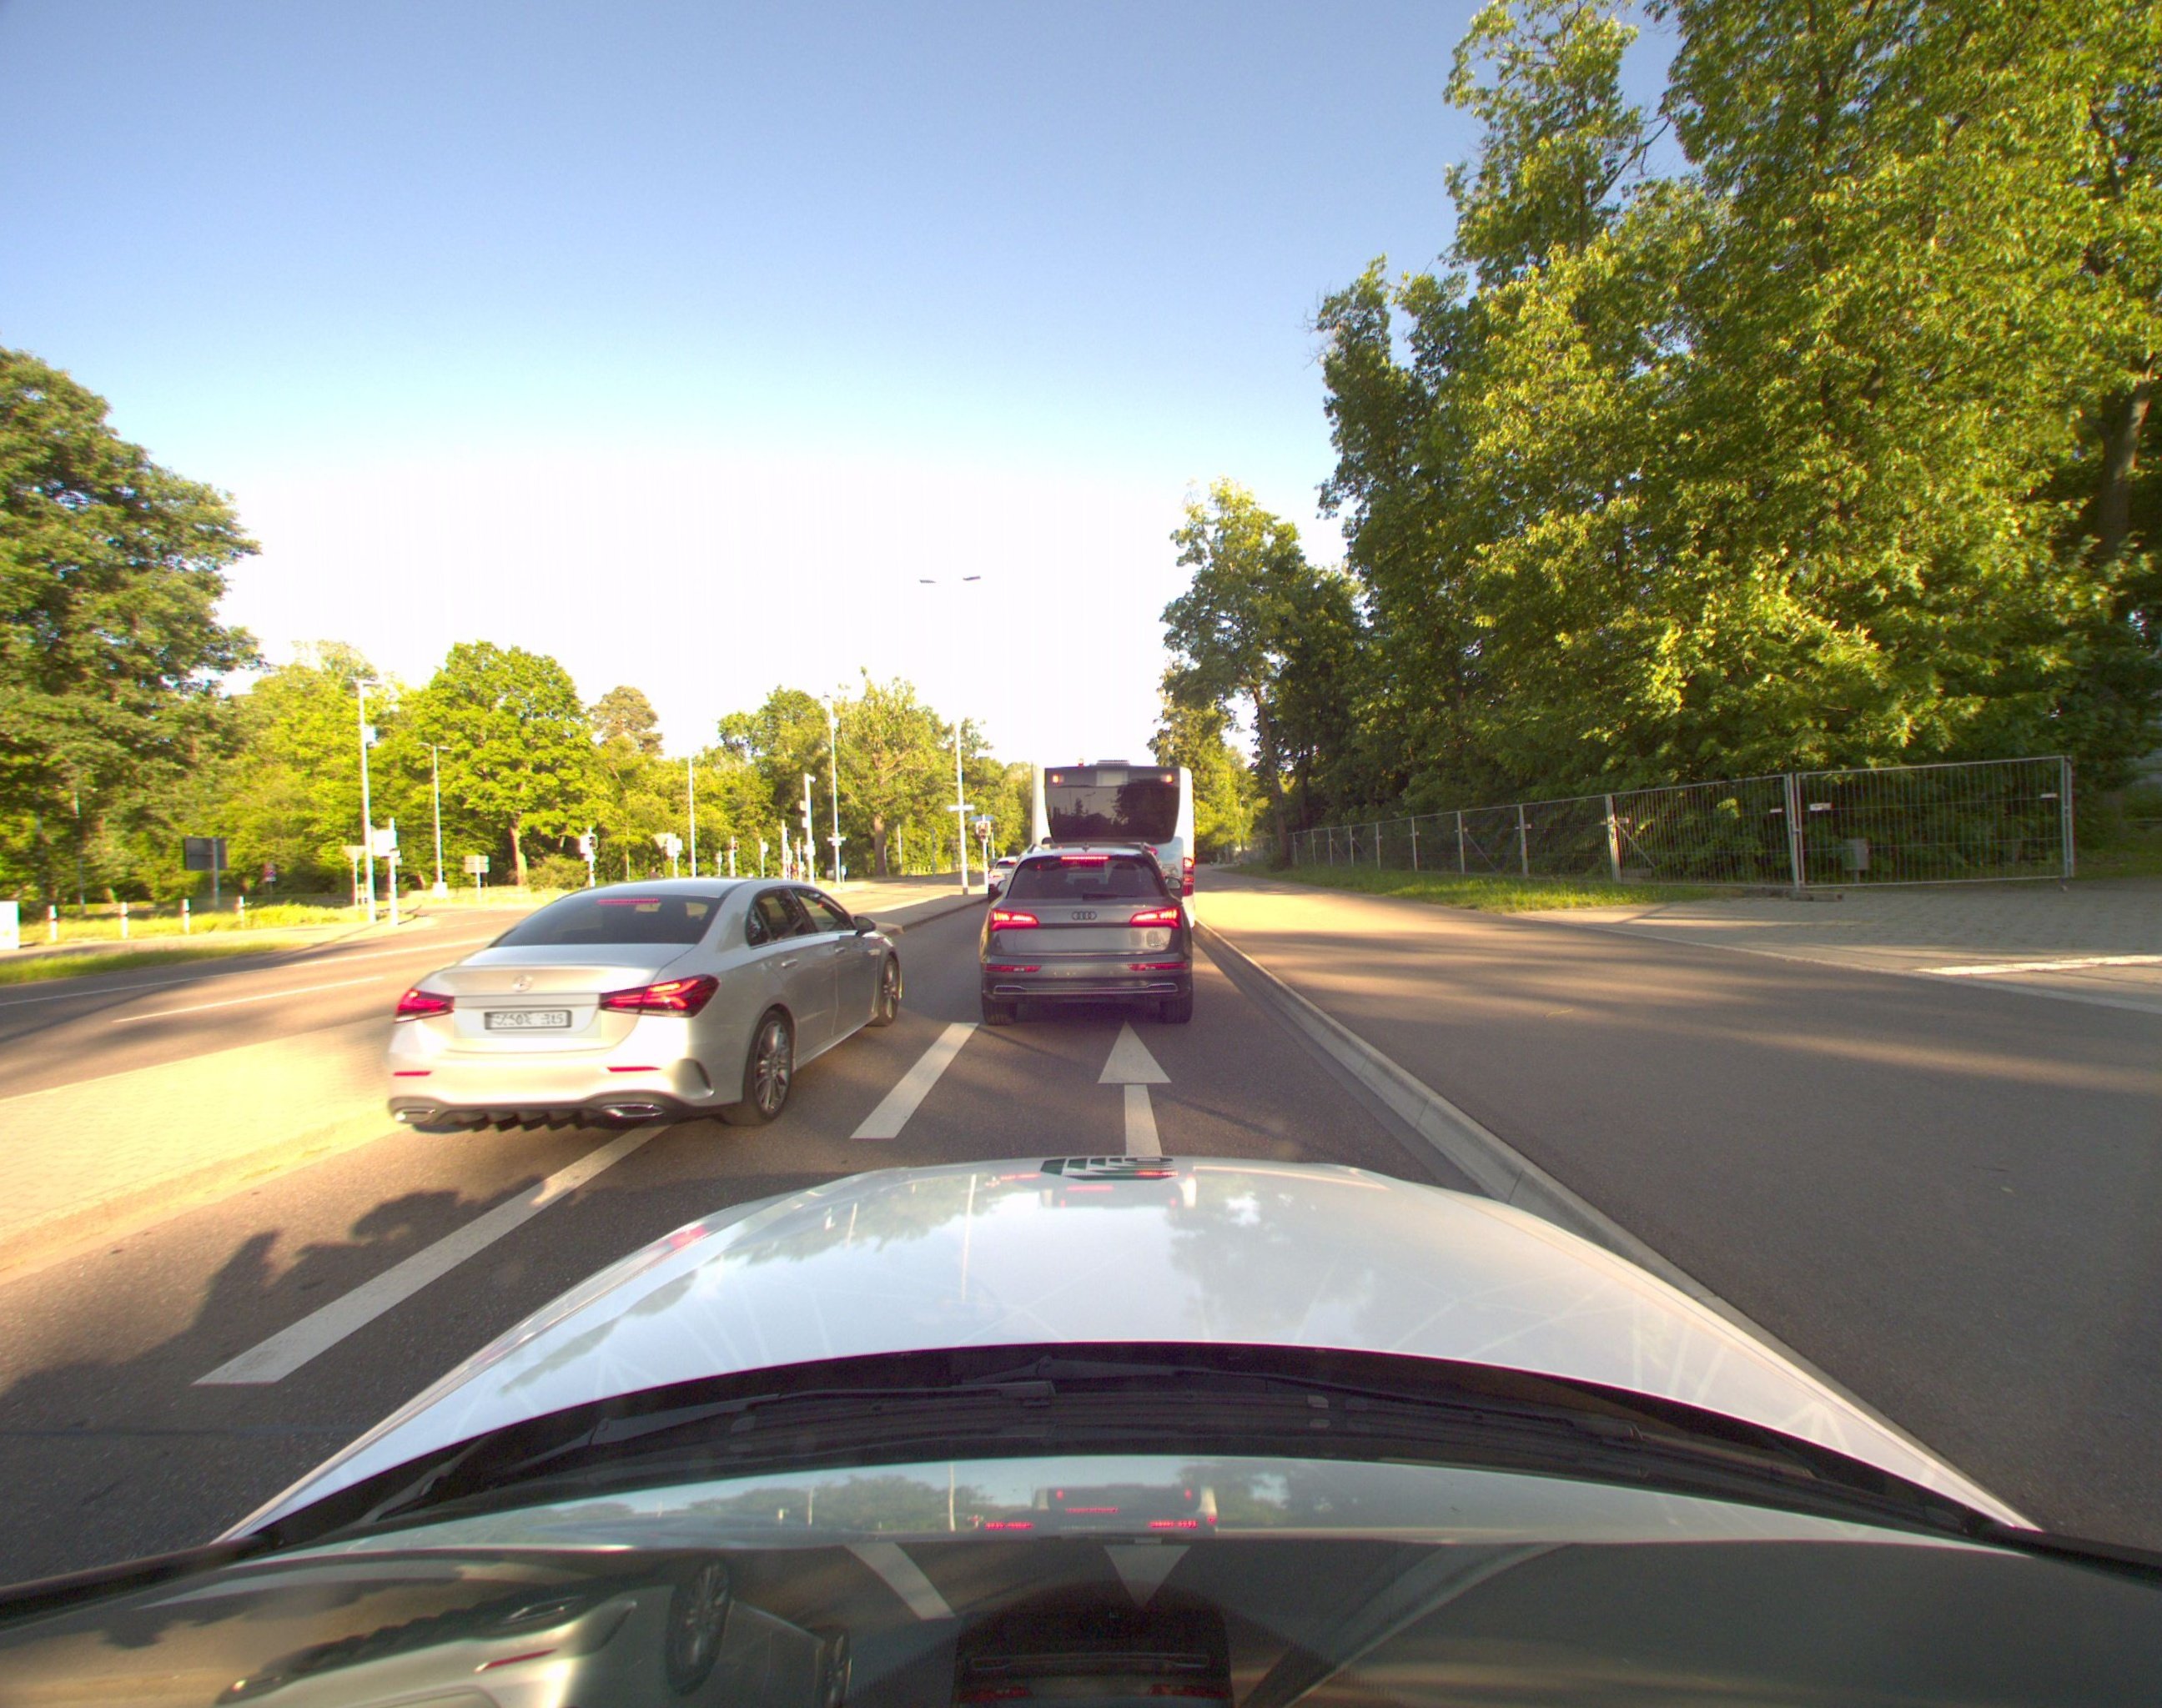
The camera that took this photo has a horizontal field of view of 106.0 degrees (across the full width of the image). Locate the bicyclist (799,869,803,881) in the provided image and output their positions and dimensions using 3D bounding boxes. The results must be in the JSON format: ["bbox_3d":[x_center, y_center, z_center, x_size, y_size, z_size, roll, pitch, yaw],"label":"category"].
[{"bbox_3d":[-22.296,1.664,64.827,0.272,0.963,0.240,0,-1,-4],"label":"bicyclist"}]

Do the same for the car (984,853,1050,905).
[{"bbox_3d":[-2.082,0.785,27.611,1.801,1.572,4.002,0,1,2],"label":"car"}]

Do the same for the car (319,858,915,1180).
[{"bbox_3d":[-2.615,0.786,5.954,1.778,1.444,4.280,0,1,2],"label":"car"}]

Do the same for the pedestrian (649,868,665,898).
[{"bbox_3d":[-22.686,1.551,43.547,0.480,1.562,0.649,0,-1,2],"label":"pedestrian"}]

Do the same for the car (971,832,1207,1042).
[{"bbox_3d":[0.126,0.643,8.472,1.861,1.663,4.002,0,1,2],"label":"car"}]

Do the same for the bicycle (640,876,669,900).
[{"bbox_3d":[-22.698,1.804,43.391,0.466,1.178,2.005,0,-1,2],"label":"bicycle"}]

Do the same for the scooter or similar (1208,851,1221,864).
[{"bbox_3d":[12.776,0.327,77.862,1.175,1.174,0.661,0,0,13],"label":"scooter or similar"}]

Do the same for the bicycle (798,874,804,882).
[{"bbox_3d":[-22.293,1.909,64.880,0.266,0.581,0.838,0,-1,-4],"label":"bicycle"}]

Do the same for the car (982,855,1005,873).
[{"bbox_3d":[-8.562,0.945,79.827,1.990,1.662,3.995,-3,0,-4],"label":"car"}]

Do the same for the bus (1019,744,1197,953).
[{"bbox_3d":[0.571,-0.111,15.252,2.667,3.142,5.887,0,0,3],"label":"bus"}]
